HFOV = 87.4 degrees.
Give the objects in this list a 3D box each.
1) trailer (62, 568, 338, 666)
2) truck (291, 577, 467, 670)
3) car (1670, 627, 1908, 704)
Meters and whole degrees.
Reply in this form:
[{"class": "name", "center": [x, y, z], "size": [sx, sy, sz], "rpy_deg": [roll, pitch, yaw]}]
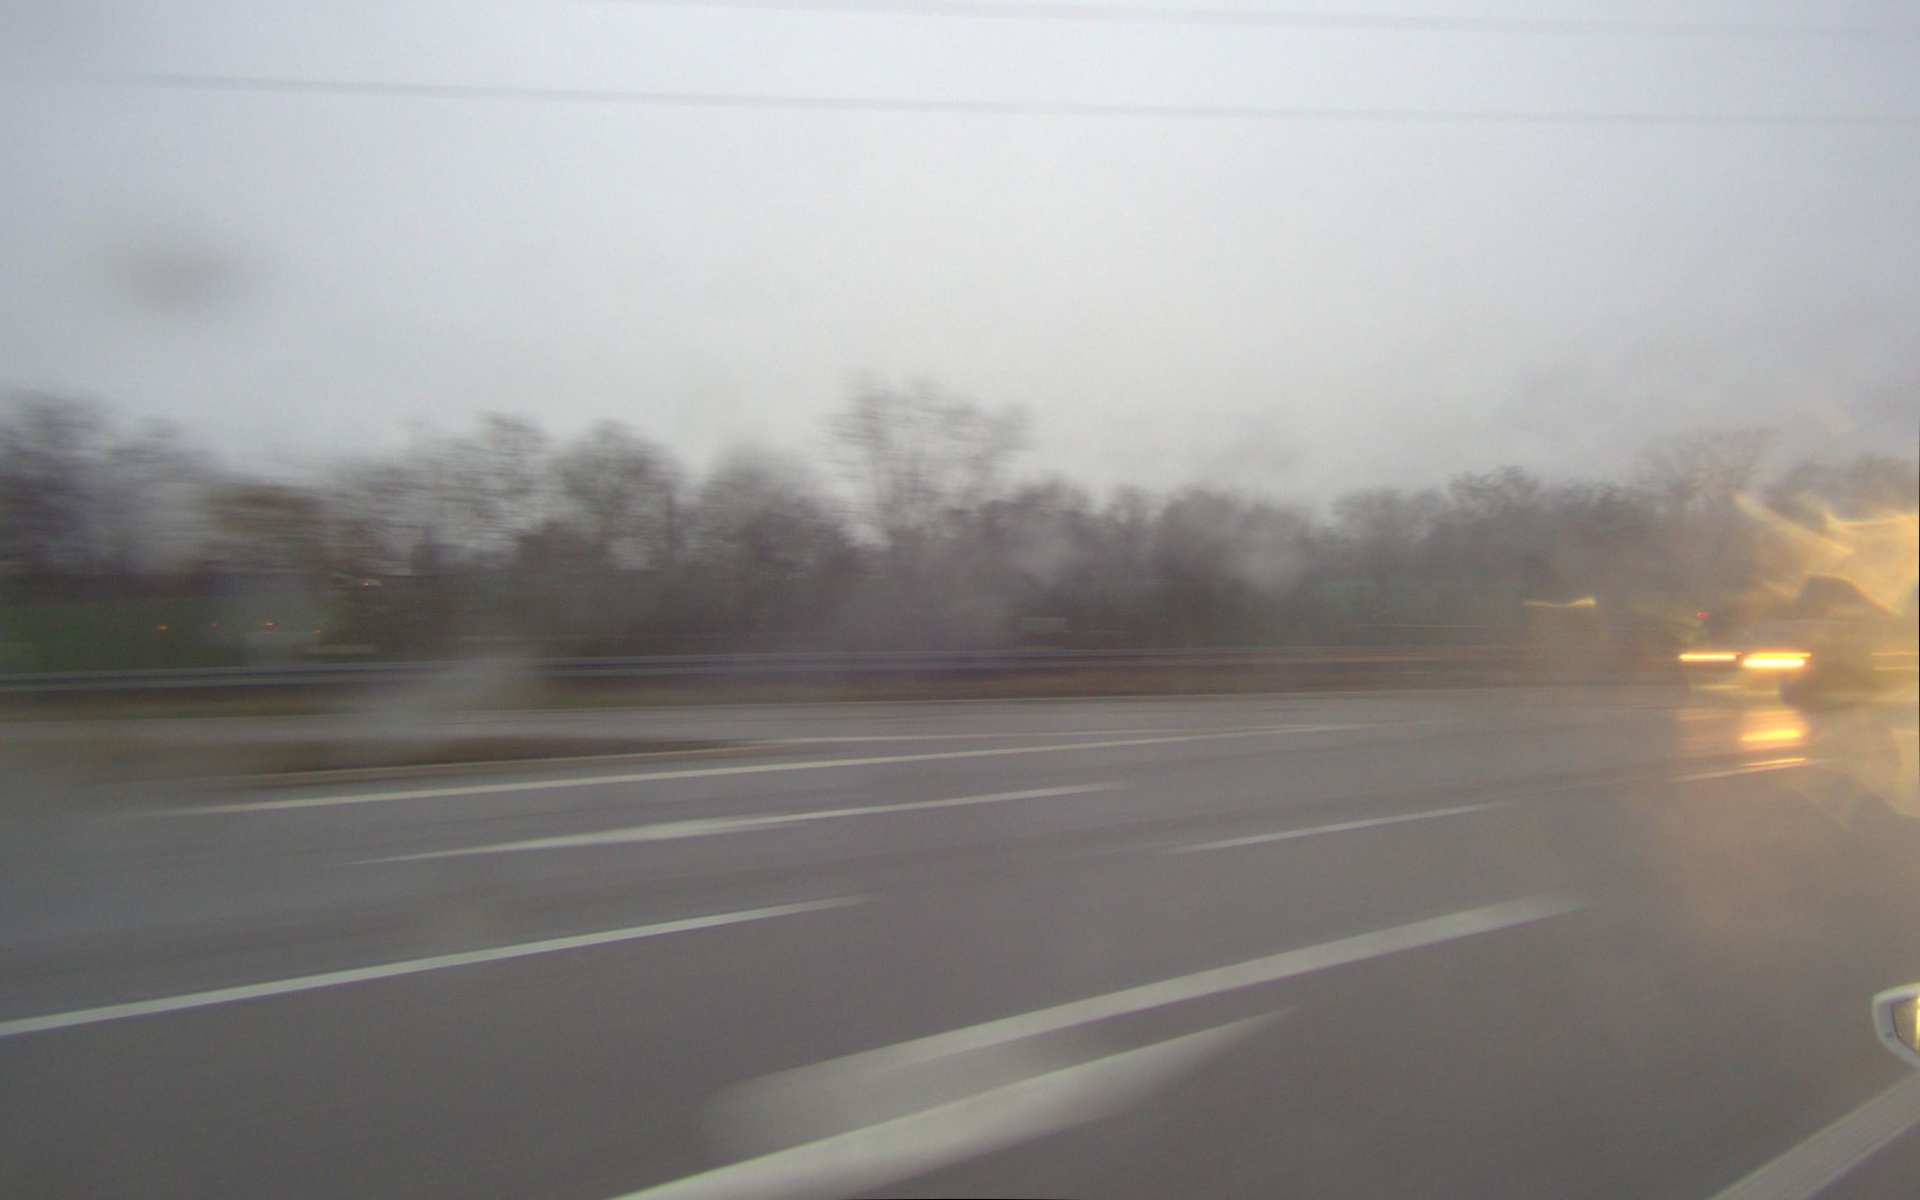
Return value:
[{"class": "trailer", "center": [-44.598, 1.029, 59.386], "size": [12.983, 5.171, 3.309], "rpy_deg": [2, -1, -7]}, {"class": "truck", "center": [-34.860, 1.406, 60.616], "size": [8.361, 5.198, 3.282], "rpy_deg": [2, -1, -7]}, {"class": "car", "center": [15.693, 1.193, 19.042], "size": [3.937, 1.261, 1.594], "rpy_deg": [1, 2, -18]}]
